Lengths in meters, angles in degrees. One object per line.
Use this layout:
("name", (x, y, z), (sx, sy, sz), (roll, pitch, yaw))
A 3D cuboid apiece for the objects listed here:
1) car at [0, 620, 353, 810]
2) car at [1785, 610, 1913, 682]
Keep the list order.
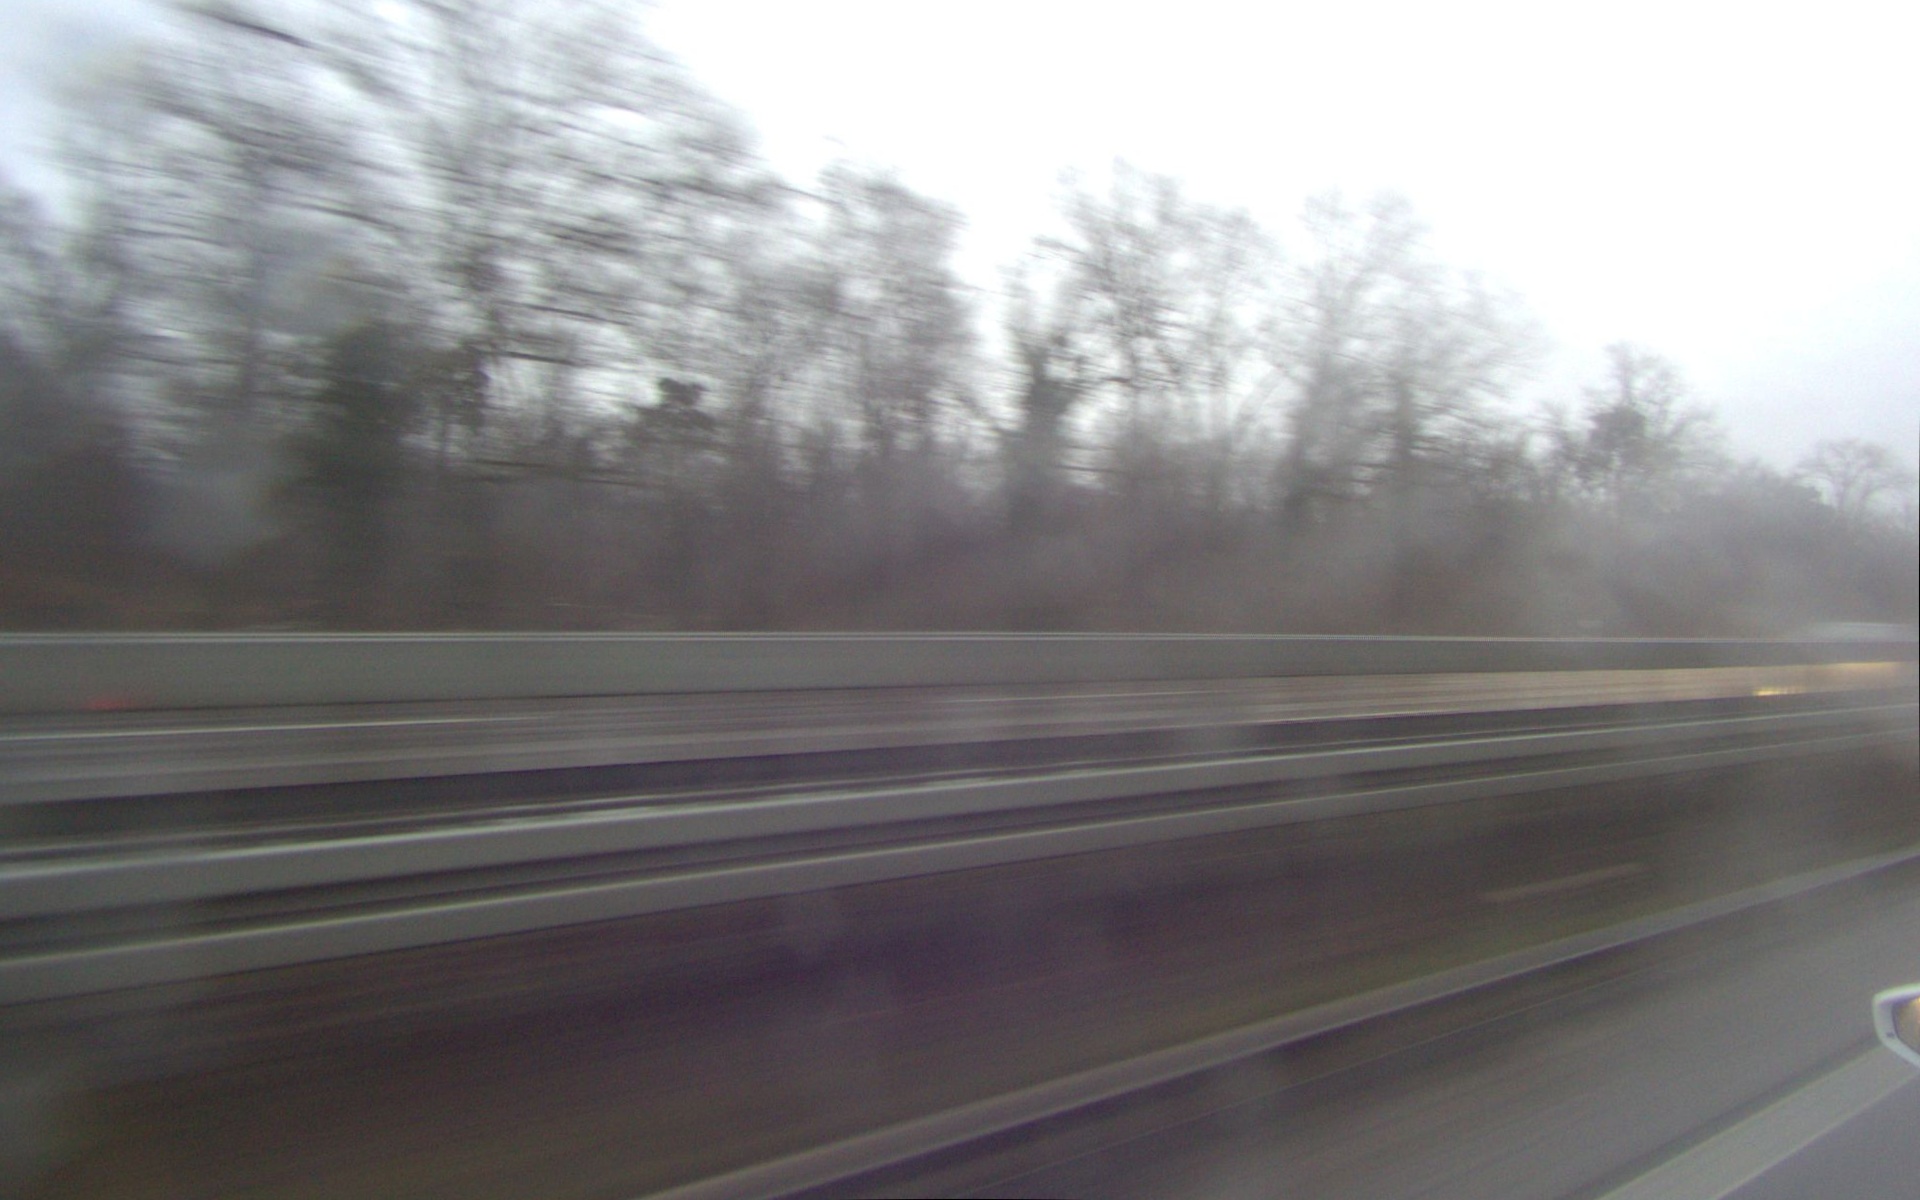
("car", (-6.069, 0.766, 7.237), (2.849, 1.184, 1.267), (2, 0, -31))
("car", (22.375, 1.129, 25.245), (3.762, 1.649, 1.578), (2, 0, -35))
